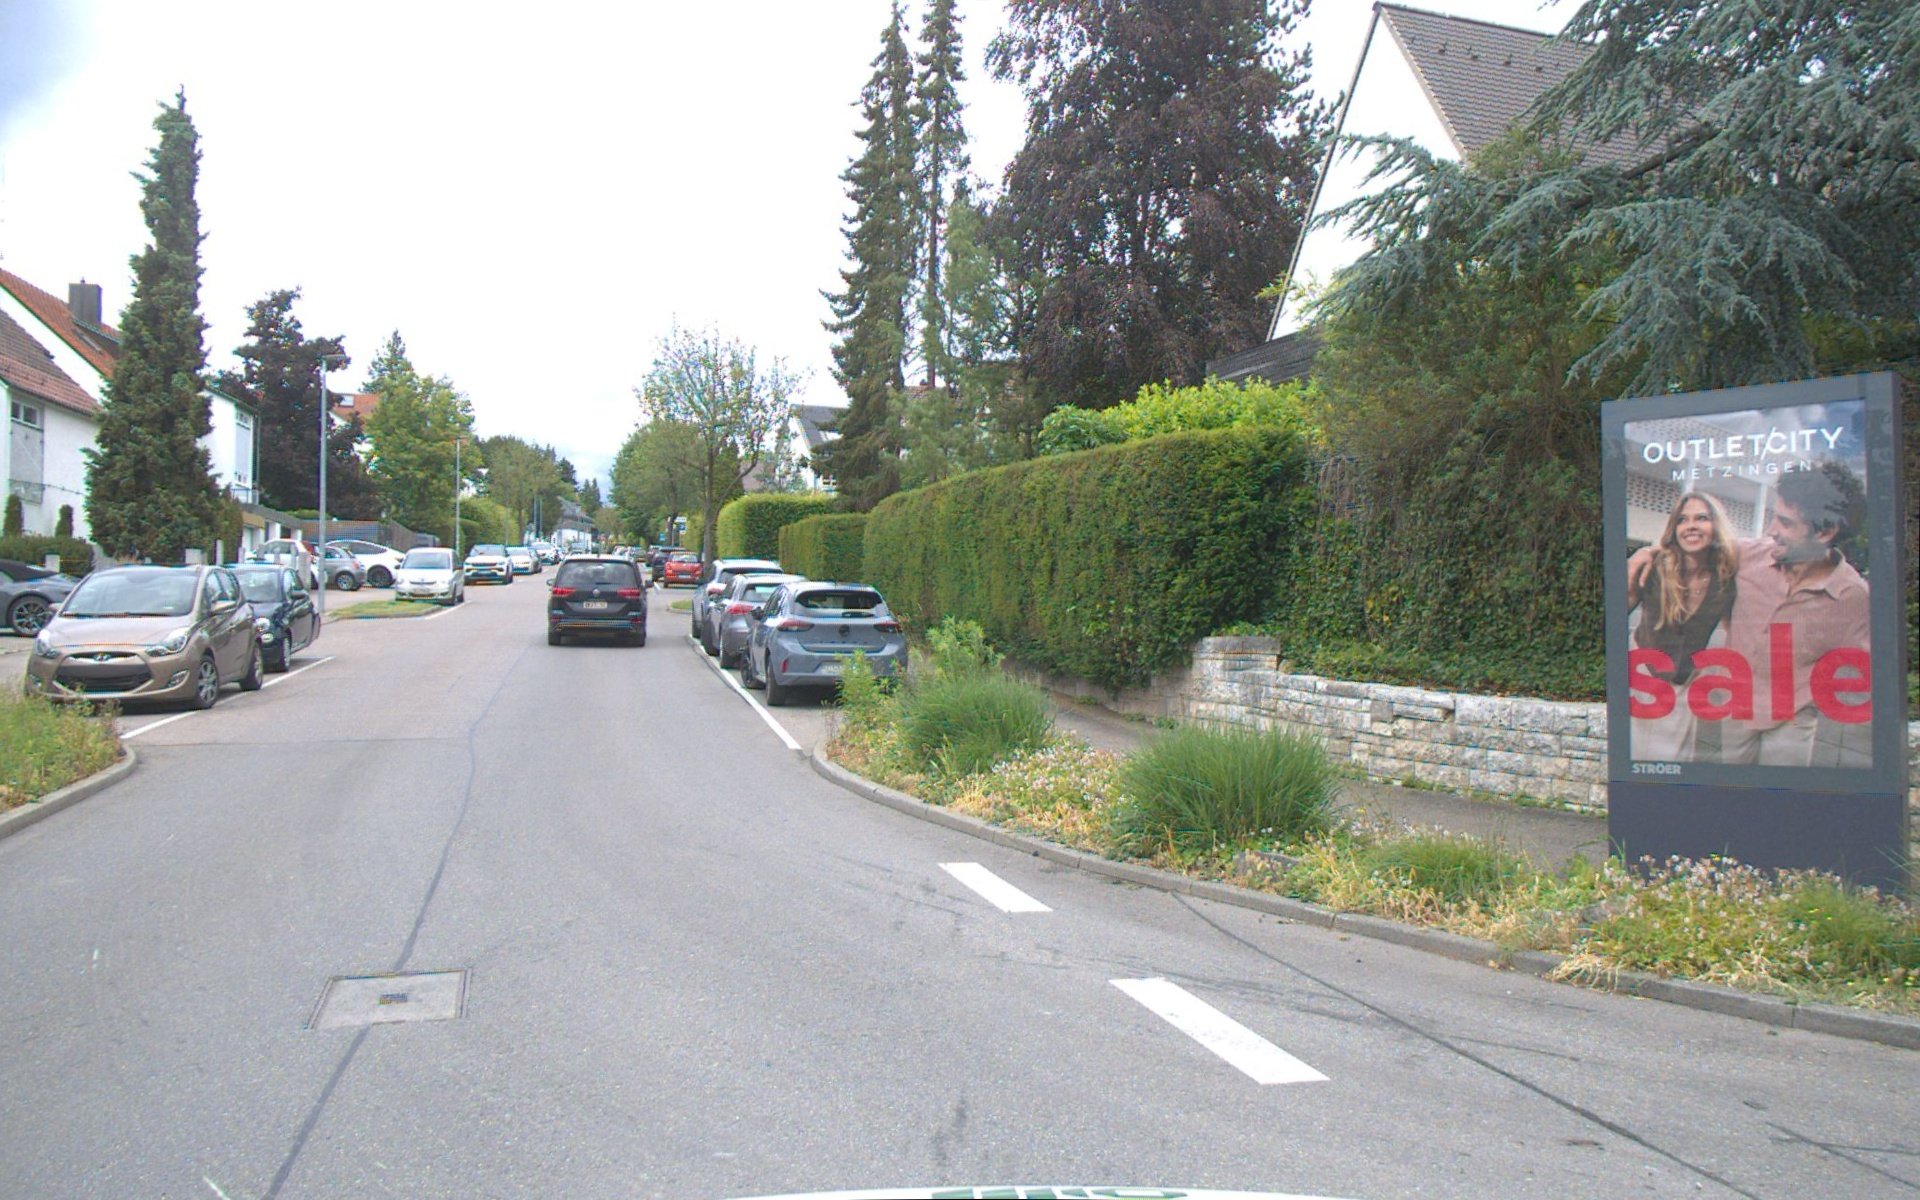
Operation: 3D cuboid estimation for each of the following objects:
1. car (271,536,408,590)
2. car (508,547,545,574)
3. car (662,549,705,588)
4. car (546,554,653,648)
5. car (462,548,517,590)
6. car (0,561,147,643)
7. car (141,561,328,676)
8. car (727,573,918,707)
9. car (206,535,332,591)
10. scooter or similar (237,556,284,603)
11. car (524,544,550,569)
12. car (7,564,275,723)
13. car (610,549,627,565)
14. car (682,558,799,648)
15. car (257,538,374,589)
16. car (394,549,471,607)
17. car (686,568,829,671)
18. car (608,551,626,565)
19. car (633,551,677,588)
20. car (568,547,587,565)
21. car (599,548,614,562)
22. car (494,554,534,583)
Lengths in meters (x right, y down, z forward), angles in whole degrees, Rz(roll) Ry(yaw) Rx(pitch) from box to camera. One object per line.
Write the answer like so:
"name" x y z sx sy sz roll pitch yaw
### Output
"car" -22.340 -1.345 59.733 4.335 1.657 1.905 3 1 -13
"car" -24.284 -2.201 92.753 1.696 1.448 4.068 -1 2 -11
"car" -11.562 -1.331 69.038 1.632 1.534 3.748 0 2 -12
"car" -6.760 -0.036 31.300 1.814 1.639 4.300 1 1 -11
"car" -19.792 -1.340 69.673 1.804 1.695 4.397 -1 2 -11
"car" -16.913 0.016 29.337 4.219 1.391 1.895 0 2 -18
"car" -10.685 0.211 24.609 1.844 1.563 3.498 0 2 -12
"car" -1.855 0.442 21.186 1.823 1.489 3.986 1 1 -14
"car" -22.063 -1.158 52.900 3.368 1.605 1.652 3 0 -11
"scooter or similar" -18.134 -0.539 42.905 0.464 1.168 1.455 2 1 4
"car" -28.538 -2.951 111.669 1.693 1.567 3.986 -1 2 -14
"car" -9.332 0.405 19.199 1.844 1.612 3.861 0 2 -12
"car" -39.828 -5.027 192.872 1.638 1.697 3.453 0 2 -16
"car" -4.393 0.012 32.595 1.823 1.609 4.158 1 1 -14
"car" -21.799 -1.213 56.071 3.368 1.538 1.688 3 0 -11
"car" -15.328 -0.677 48.197 1.730 1.590 3.844 -1 2 -12
"car" -3.374 0.266 26.896 1.823 1.489 4.158 1 1 -14
"car" -38.609 -4.740 186.151 1.638 1.527 3.453 0 2 -16
"car" -14.474 -1.457 78.399 1.958 1.646 4.501 2 1 -11
"car" -40.328 -4.689 174.576 1.852 1.883 4.389 -1 2 -12
"car" -44.391 -5.709 207.490 1.617 1.697 3.453 0 2 -16
"car" -23.660 -1.672 87.796 1.805 1.447 4.395 -1 2 -12
